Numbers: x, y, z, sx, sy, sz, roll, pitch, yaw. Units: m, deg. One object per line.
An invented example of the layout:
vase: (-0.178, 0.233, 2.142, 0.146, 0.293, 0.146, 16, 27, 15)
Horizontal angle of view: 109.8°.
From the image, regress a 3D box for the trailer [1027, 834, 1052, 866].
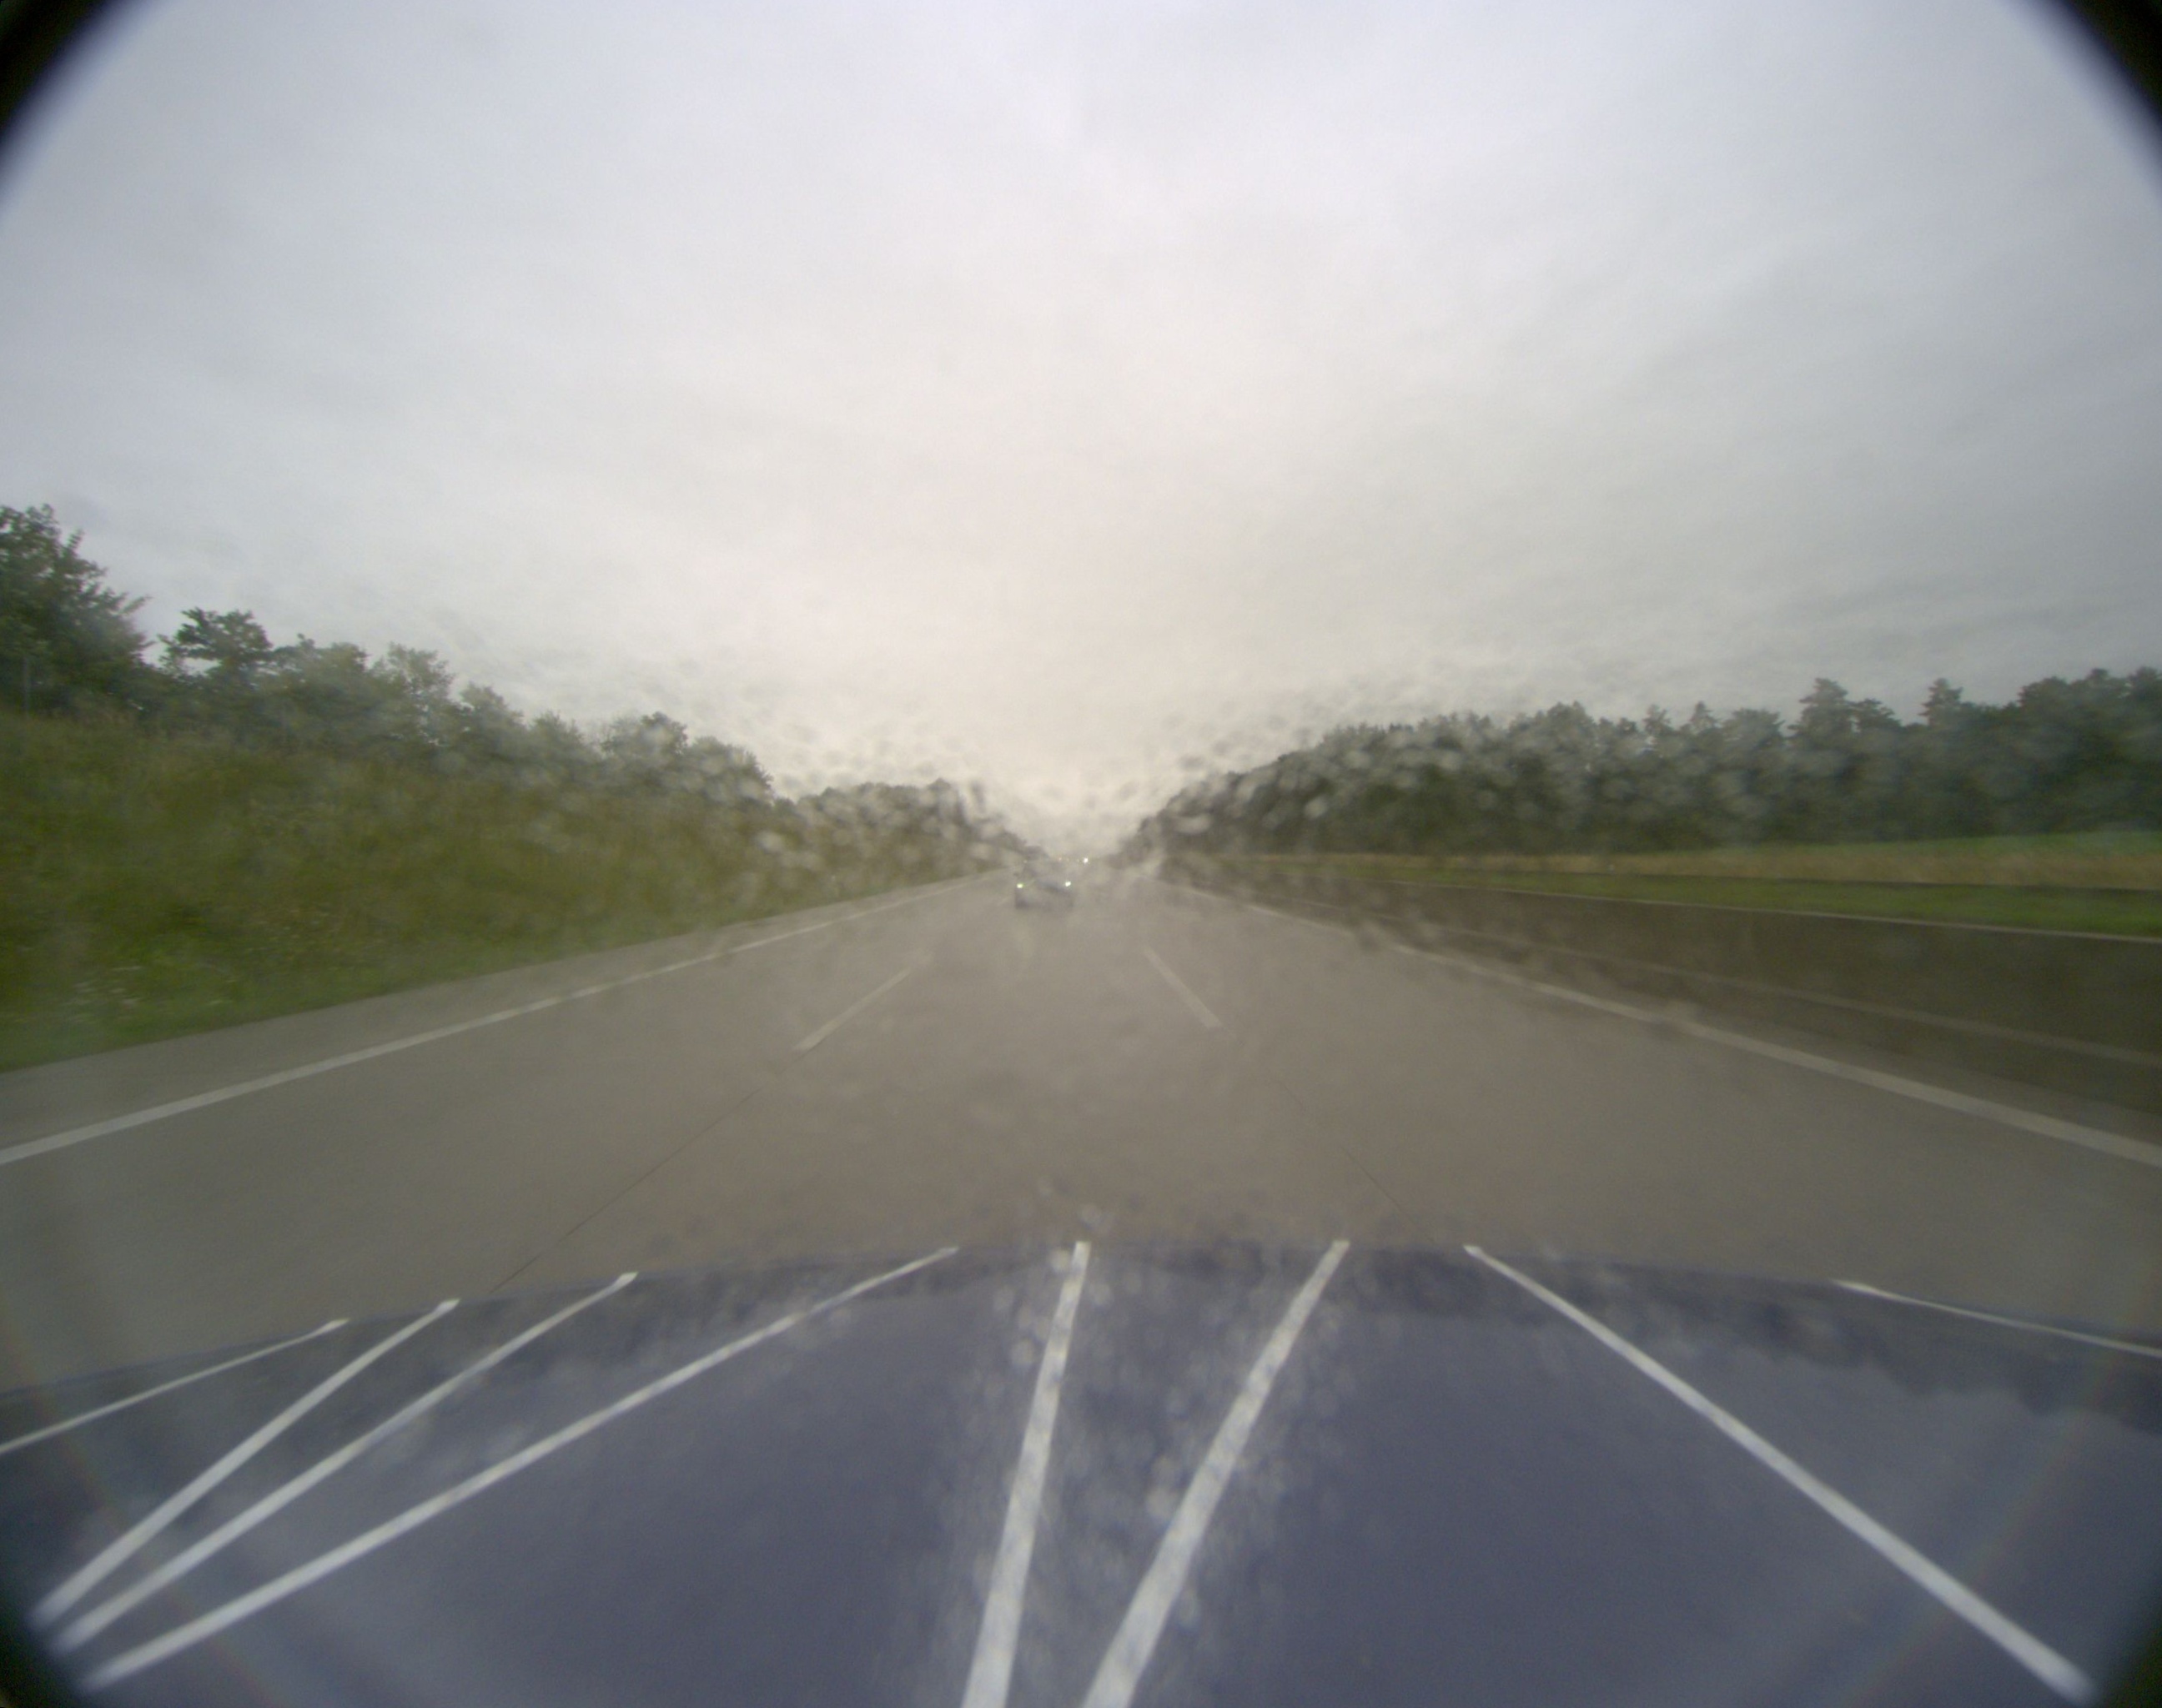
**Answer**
trailer: (-6.155, -0.479, 114.326, 2.713, 4.353, 15.205, -3, -1, 0)

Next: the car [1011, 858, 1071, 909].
car: (-1.228, 0.900, 25.080, 1.734, 1.450, 4.672, -1, 0, 0)

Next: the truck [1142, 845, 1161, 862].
truck: (16.071, -0.052, 173.228, 2.910, 3.833, 12.450, -1, -1, -1)

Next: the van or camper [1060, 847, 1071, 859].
van or camper: (-3.599, -0.173, 175.654, 2.233, 2.537, 7.948, 2, 1, 1)

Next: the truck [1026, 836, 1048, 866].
truck: (-6.128, -0.331, 106.639, 2.643, 3.930, 5.686, -3, -1, 0)
